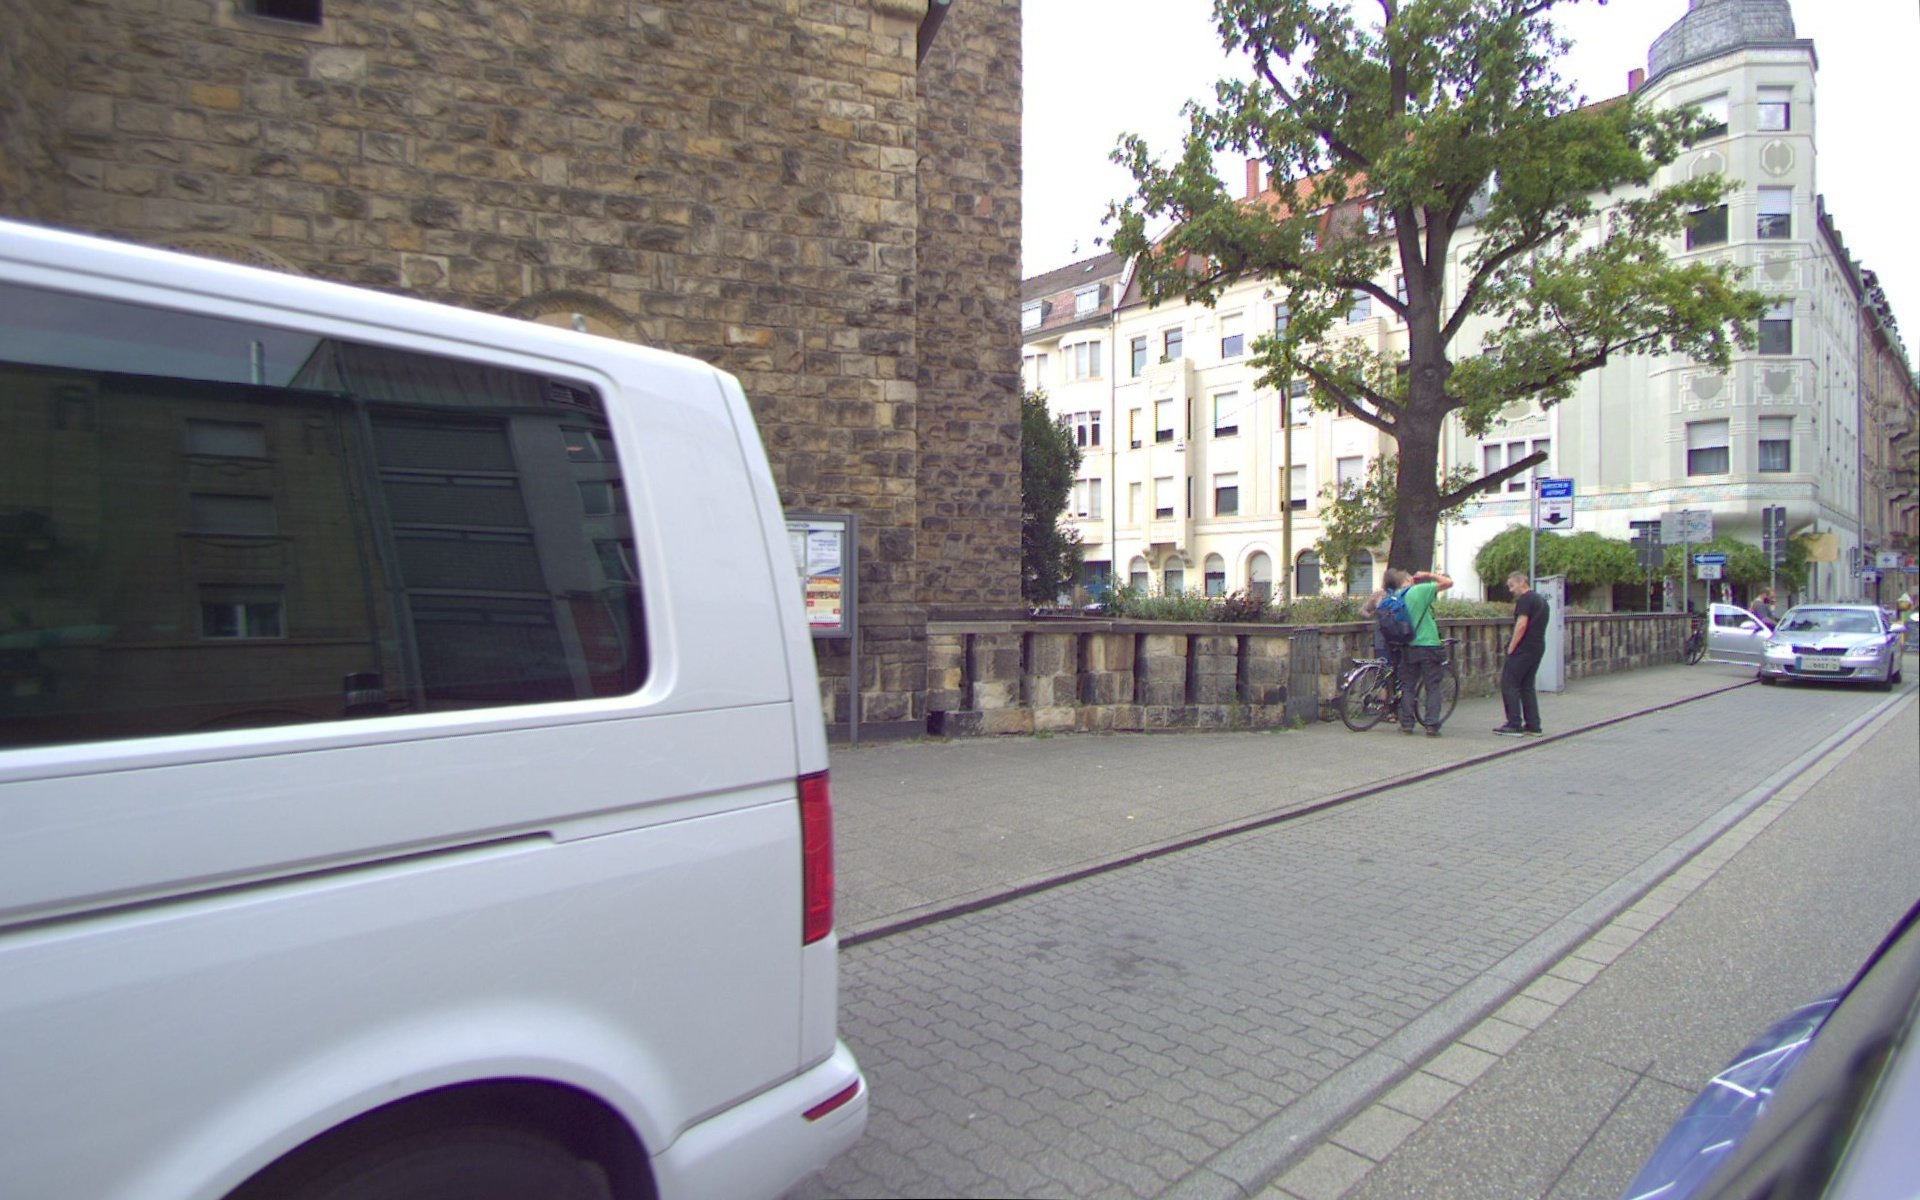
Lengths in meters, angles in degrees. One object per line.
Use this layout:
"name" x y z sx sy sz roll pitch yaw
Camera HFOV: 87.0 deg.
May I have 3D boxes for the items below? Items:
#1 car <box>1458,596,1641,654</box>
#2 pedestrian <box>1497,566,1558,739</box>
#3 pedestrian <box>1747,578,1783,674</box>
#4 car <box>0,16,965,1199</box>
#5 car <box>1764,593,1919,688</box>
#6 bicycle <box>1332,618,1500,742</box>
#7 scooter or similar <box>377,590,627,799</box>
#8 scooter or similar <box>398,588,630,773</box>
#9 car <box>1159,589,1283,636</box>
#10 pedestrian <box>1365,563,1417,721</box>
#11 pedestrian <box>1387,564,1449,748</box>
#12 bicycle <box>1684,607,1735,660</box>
"car" 16.432 0.641 28.378 1.872 1.488 4.038 0 0 -33
"pedestrian" 5.897 0.529 10.535 0.504 1.741 0.527 0 0 25
"pedestrian" 14.971 0.478 18.812 0.403 1.757 0.468 0 0 -43
"car" -2.506 0.390 1.008 5.038 2.055 2.016 1 1 -44
"car" 15.739 0.630 17.963 4.345 1.487 1.756 0 0 -44
"bicycle" 4.690 0.787 10.395 1.716 1.164 0.535 0 0 -22
"scooter or similar" -2.935 0.553 6.530 1.413 1.222 0.546 0 0 -29
"scooter or similar" -3.130 0.527 7.187 1.450 1.222 0.547 0 0 -23
"car" 9.420 0.430 36.726 1.814 1.555 4.031 4 -2 -40
"pedestrian" 4.888 0.459 11.463 0.504 1.741 0.527 0 0 26
"pedestrian" 4.473 0.525 9.894 0.526 1.741 0.505 0 0 25
"bicycle" 16.438 0.712 22.176 1.944 1.119 0.522 1 -1 -42
